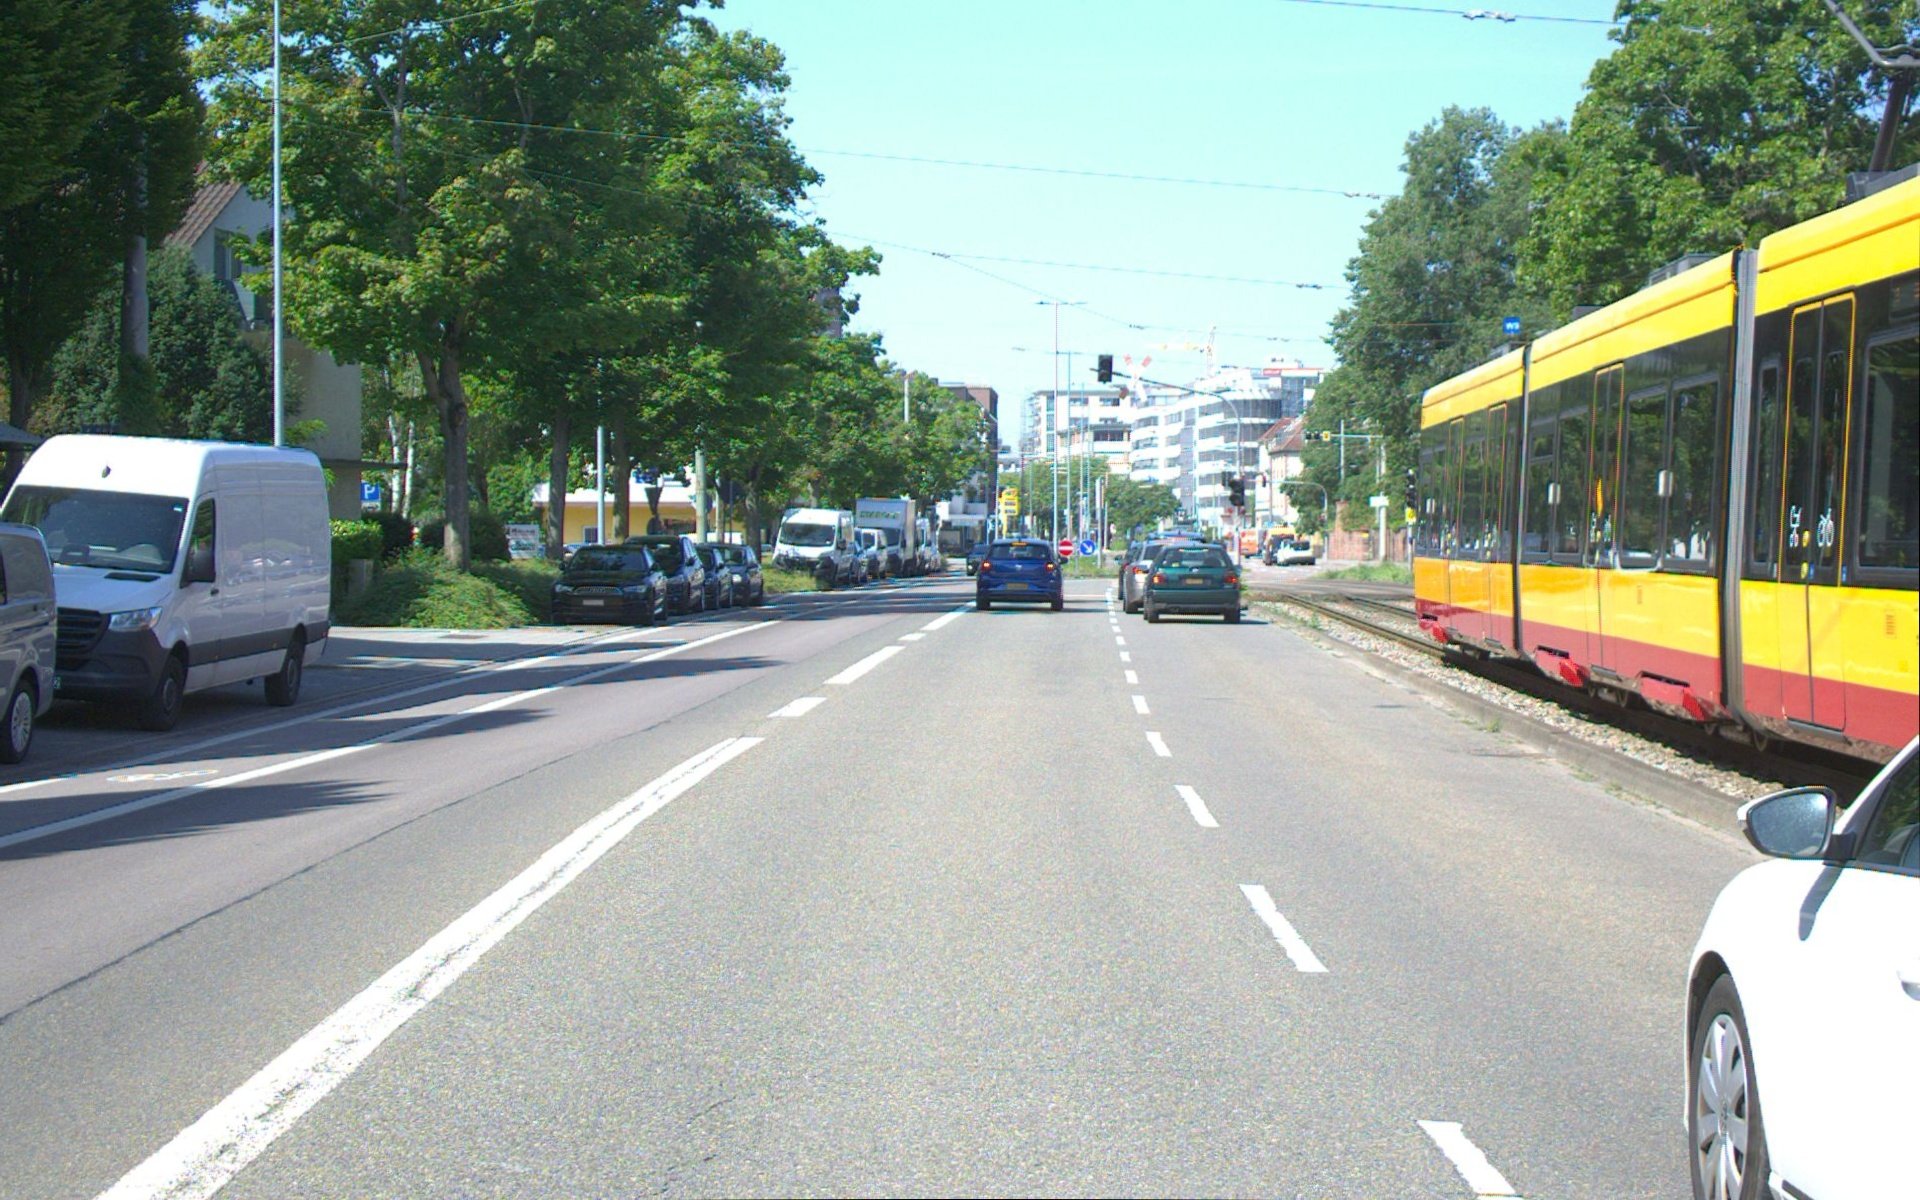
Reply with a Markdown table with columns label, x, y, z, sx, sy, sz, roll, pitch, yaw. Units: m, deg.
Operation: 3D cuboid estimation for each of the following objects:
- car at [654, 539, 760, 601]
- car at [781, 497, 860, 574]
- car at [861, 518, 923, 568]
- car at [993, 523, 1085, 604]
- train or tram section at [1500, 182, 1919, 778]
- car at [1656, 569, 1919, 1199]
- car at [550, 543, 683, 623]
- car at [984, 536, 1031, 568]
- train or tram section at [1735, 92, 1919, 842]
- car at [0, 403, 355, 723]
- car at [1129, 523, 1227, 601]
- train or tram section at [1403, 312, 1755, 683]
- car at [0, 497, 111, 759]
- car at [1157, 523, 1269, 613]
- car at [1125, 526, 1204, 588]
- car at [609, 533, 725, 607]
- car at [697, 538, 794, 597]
| label | x | y | z | sx | sy | sz | roll | pitch | yaw |
| --- | --- | --- | --- | --- | --- | --- | --- | --- | --- |
| car | -5.643 | -0.695 | 77.010 | 1.700 | 1.347 | 3.999 | 0 | 1 | 6 |
| car | -4.489 | -2.092 | 111.233 | 1.880 | 2.407 | 5.115 | 0 | 1 | 6 |
| car | -2.567 | -2.189 | 131.656 | 1.826 | 1.860 | 4.724 | 0 | 1 | 6 |
| car | 1.629 | -0.761 | 70.230 | 1.800 | 1.502 | 4.000 | 1 | 2 | 2 |
| train or tram section | 6.425 | -0.897 | 28.215 | 2.511 | 3.734 | 13.310 | 0 | 1 | 3 |
| car | 2.456 | 0.714 | 5.438 | 1.691 | 1.446 | 4.459 | 0 | 1 | -1 |
| car | -6.358 | -0.338 | 63.981 | 1.700 | 1.412 | 3.999 | 0 | 1 | 6 |
| car | 1.976 | -1.981 | 141.059 | 1.700 | 1.268 | 4.000 | 0 | 1 | 4 |
| train or tram section | 5.984 | -0.614 | 14.978 | 2.511 | 3.734 | 13.311 | 0 | 1 | 1 |
| car | -7.778 | -0.397 | 33.480 | 1.995 | 2.705 | 7.156 | 3 | 1 | 3 |
| car | 4.339 | -0.775 | 68.833 | 1.800 | 1.455 | 4.000 | 1 | 2 | 2 |
| train or tram section | 7.096 | -1.179 | 41.339 | 2.511 | 3.734 | 13.310 | 0 | 1 | 3 |
| car | -8.058 | 0.169 | 25.525 | 1.919 | 1.941 | 5.354 | 3 | 1 | 2 |
| car | 4.506 | -0.605 | 61.661 | 1.800 | 1.502 | 4.000 | 1 | 2 | 2 |
| car | 4.976 | -1.064 | 83.945 | 1.800 | 1.455 | 4.000 | 0 | 1 | 2 |
| car | -6.080 | -0.644 | 71.616 | 1.700 | 1.477 | 3.999 | 0 | 1 | 6 |
| car | -5.114 | -0.796 | 82.299 | 1.700 | 1.347 | 3.999 | 0 | 1 | 6 |
